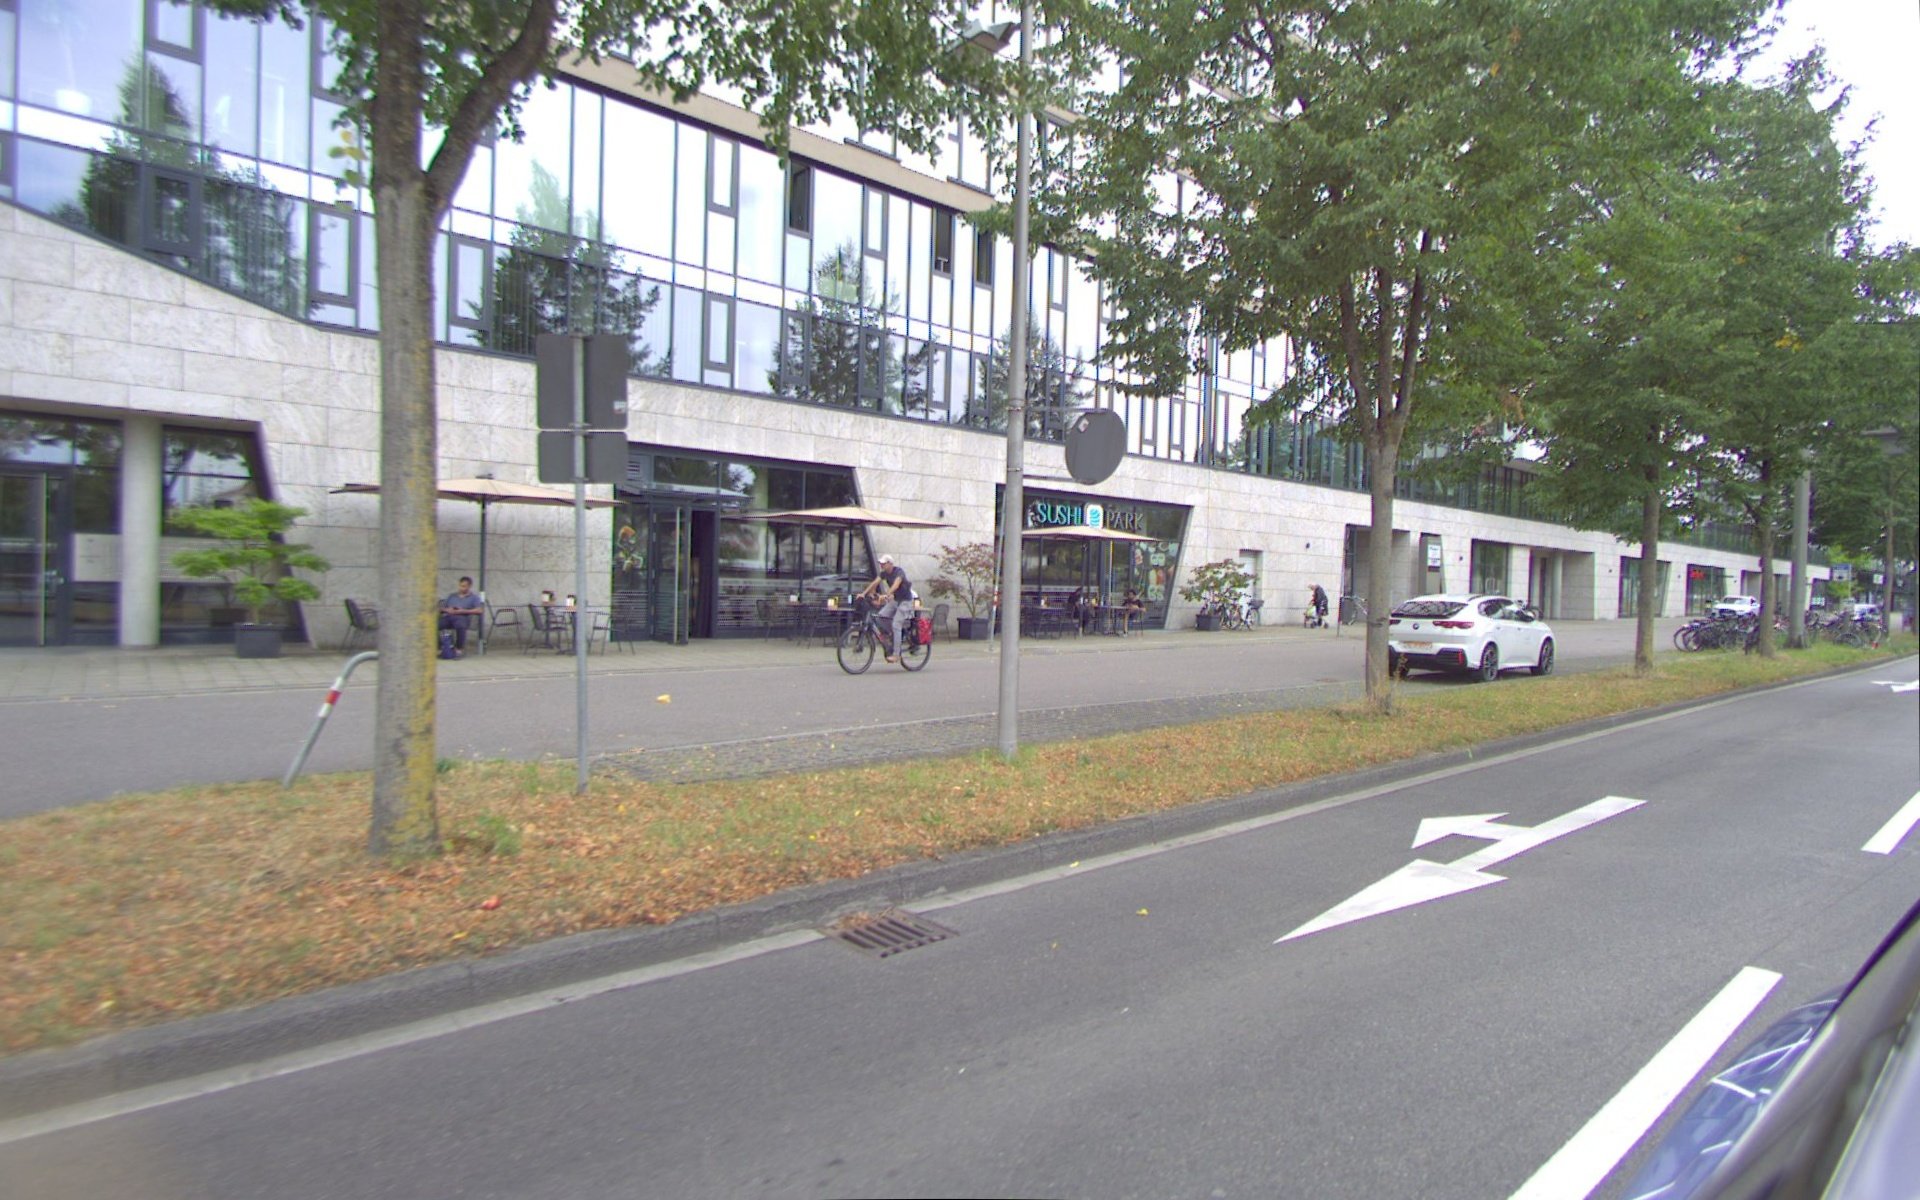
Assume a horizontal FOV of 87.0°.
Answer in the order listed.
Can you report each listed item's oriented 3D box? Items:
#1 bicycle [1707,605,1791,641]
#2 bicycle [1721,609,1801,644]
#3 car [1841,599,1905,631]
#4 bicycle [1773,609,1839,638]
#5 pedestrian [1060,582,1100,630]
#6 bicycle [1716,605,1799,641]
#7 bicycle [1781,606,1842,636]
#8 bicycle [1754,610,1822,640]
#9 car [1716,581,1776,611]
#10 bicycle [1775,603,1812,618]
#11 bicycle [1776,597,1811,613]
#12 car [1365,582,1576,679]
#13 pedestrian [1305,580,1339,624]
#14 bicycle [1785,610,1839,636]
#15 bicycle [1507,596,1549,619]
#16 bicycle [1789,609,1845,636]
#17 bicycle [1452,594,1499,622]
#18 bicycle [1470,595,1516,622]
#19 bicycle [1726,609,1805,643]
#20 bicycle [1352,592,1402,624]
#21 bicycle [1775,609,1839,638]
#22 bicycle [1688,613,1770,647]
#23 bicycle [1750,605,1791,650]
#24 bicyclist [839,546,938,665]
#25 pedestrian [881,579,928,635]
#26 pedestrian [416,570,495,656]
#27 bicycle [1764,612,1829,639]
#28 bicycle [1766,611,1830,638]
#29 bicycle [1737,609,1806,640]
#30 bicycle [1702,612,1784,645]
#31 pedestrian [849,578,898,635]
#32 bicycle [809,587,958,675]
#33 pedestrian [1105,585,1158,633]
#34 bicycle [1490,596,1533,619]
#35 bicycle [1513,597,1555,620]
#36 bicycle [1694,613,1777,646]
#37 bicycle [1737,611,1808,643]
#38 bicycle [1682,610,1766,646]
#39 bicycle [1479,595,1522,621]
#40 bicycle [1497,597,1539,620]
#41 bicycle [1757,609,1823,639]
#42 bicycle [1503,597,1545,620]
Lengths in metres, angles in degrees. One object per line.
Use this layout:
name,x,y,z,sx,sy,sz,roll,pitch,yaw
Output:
bicycle,24.210,0.707,31.094,0.693,1.079,1.931,1,-2,-43
bicycle,25.333,0.834,32.030,1.927,1.079,0.535,-2,-2,42
car,44.045,0.696,48.807,4.109,1.439,1.764,0,1,-41
bicycle,30.415,0.839,36.394,1.770,1.025,0.601,-2,-2,42
pedestrian,3.091,0.155,26.087,0.743,1.207,0.723,1,1,-18
bicycle,24.821,0.712,31.527,0.631,1.079,1.931,1,-2,-43
bicycle,31.487,0.765,37.445,0.516,1.104,1.669,1,-1,-43
bicycle,27.999,0.836,34.253,1.742,0.986,0.600,-2,-2,42
car,45.767,-0.240,58.893,4.165,1.607,1.862,0,4,-41
bicycle,70.825,0.888,85.999,2.418,1.191,1.185,3,2,43
bicycle,70.060,0.410,85.044,2.231,1.191,0.961,2,1,43
car,9.700,0.514,19.083,4.512,1.571,1.942,1,1,-41
pedestrian,12.038,0.058,33.623,0.707,1.424,0.759,1,1,-33
bicycle,32.472,0.865,38.573,0.543,0.965,1.530,1,-1,-43
bicycle,25.526,0.333,45.464,0.524,0.965,1.531,0,2,-43
bicycle,32.069,0.831,37.876,0.476,0.965,1.530,1,-1,-43
bicycle,20.790,0.328,40.827,0.524,1.039,1.600,0,2,-43
bicycle,22.135,0.336,42.043,0.524,1.039,1.600,0,2,-43
bicycle,25.770,0.832,32.396,1.927,1.079,0.535,-2,-2,42
bicycle,14.950,0.276,36.293,1.585,1.039,0.606,3,2,23
bicycle,30.868,0.844,36.913,1.771,1.025,0.601,-1,-1,42
bicycle,22.561,0.874,29.721,0.493,0.963,1.862,1,-2,-43
bicycle,21.064,0.694,26.286,0.709,1.130,2.170,-2,-2,41
bicyclist,-1.138,0.069,16.037,1.110,1.758,0.999,1,4,-42
pedestrian,-1.244,0.156,22.524,0.745,1.207,0.720,1,1,-39
pedestrian,-7.707,0.181,15.460,0.932,1.243,0.901,1,1,-36
bicycle,28.988,0.877,35.075,1.713,0.917,0.580,-2,-2,42
bicycle,29.415,0.853,35.536,1.713,0.917,0.580,-2,-2,42
bicycle,26.663,0.801,33.268,1.742,0.986,0.600,-2,-2,42
bicycle,23.691,0.866,30.652,0.602,0.963,1.862,1,-2,-43
pedestrian,-1.882,0.135,21.984,0.745,1.207,0.720,1,1,-41
bicycle,-1.186,0.462,16.067,2.229,1.250,0.904,0,4,-42
pedestrian,4.484,0.223,26.448,1.083,1.207,0.776,1,1,-25
bicycle,24.000,0.314,44.038,0.524,0.965,1.531,0,2,-43
bicycle,26.096,0.376,46.014,0.524,0.965,1.531,0,2,-43
bicycle,23.121,0.870,30.198,0.642,0.963,1.862,1,-2,-43
bicycle,26.285,0.874,32.769,1.742,0.986,0.600,-2,-2,42
bicycle,22.083,0.805,29.273,0.564,1.008,1.862,1,-2,-43
bicycle,23.122,0.316,43.300,0.524,1.039,1.531,0,2,-43
bicycle,24.589,0.376,44.594,0.524,0.965,1.531,0,2,-43
bicycle,28.457,0.831,34.700,1.713,0.986,0.600,-2,-2,42
bicycle,25.044,0.373,44.977,0.524,0.965,1.531,0,2,-43
